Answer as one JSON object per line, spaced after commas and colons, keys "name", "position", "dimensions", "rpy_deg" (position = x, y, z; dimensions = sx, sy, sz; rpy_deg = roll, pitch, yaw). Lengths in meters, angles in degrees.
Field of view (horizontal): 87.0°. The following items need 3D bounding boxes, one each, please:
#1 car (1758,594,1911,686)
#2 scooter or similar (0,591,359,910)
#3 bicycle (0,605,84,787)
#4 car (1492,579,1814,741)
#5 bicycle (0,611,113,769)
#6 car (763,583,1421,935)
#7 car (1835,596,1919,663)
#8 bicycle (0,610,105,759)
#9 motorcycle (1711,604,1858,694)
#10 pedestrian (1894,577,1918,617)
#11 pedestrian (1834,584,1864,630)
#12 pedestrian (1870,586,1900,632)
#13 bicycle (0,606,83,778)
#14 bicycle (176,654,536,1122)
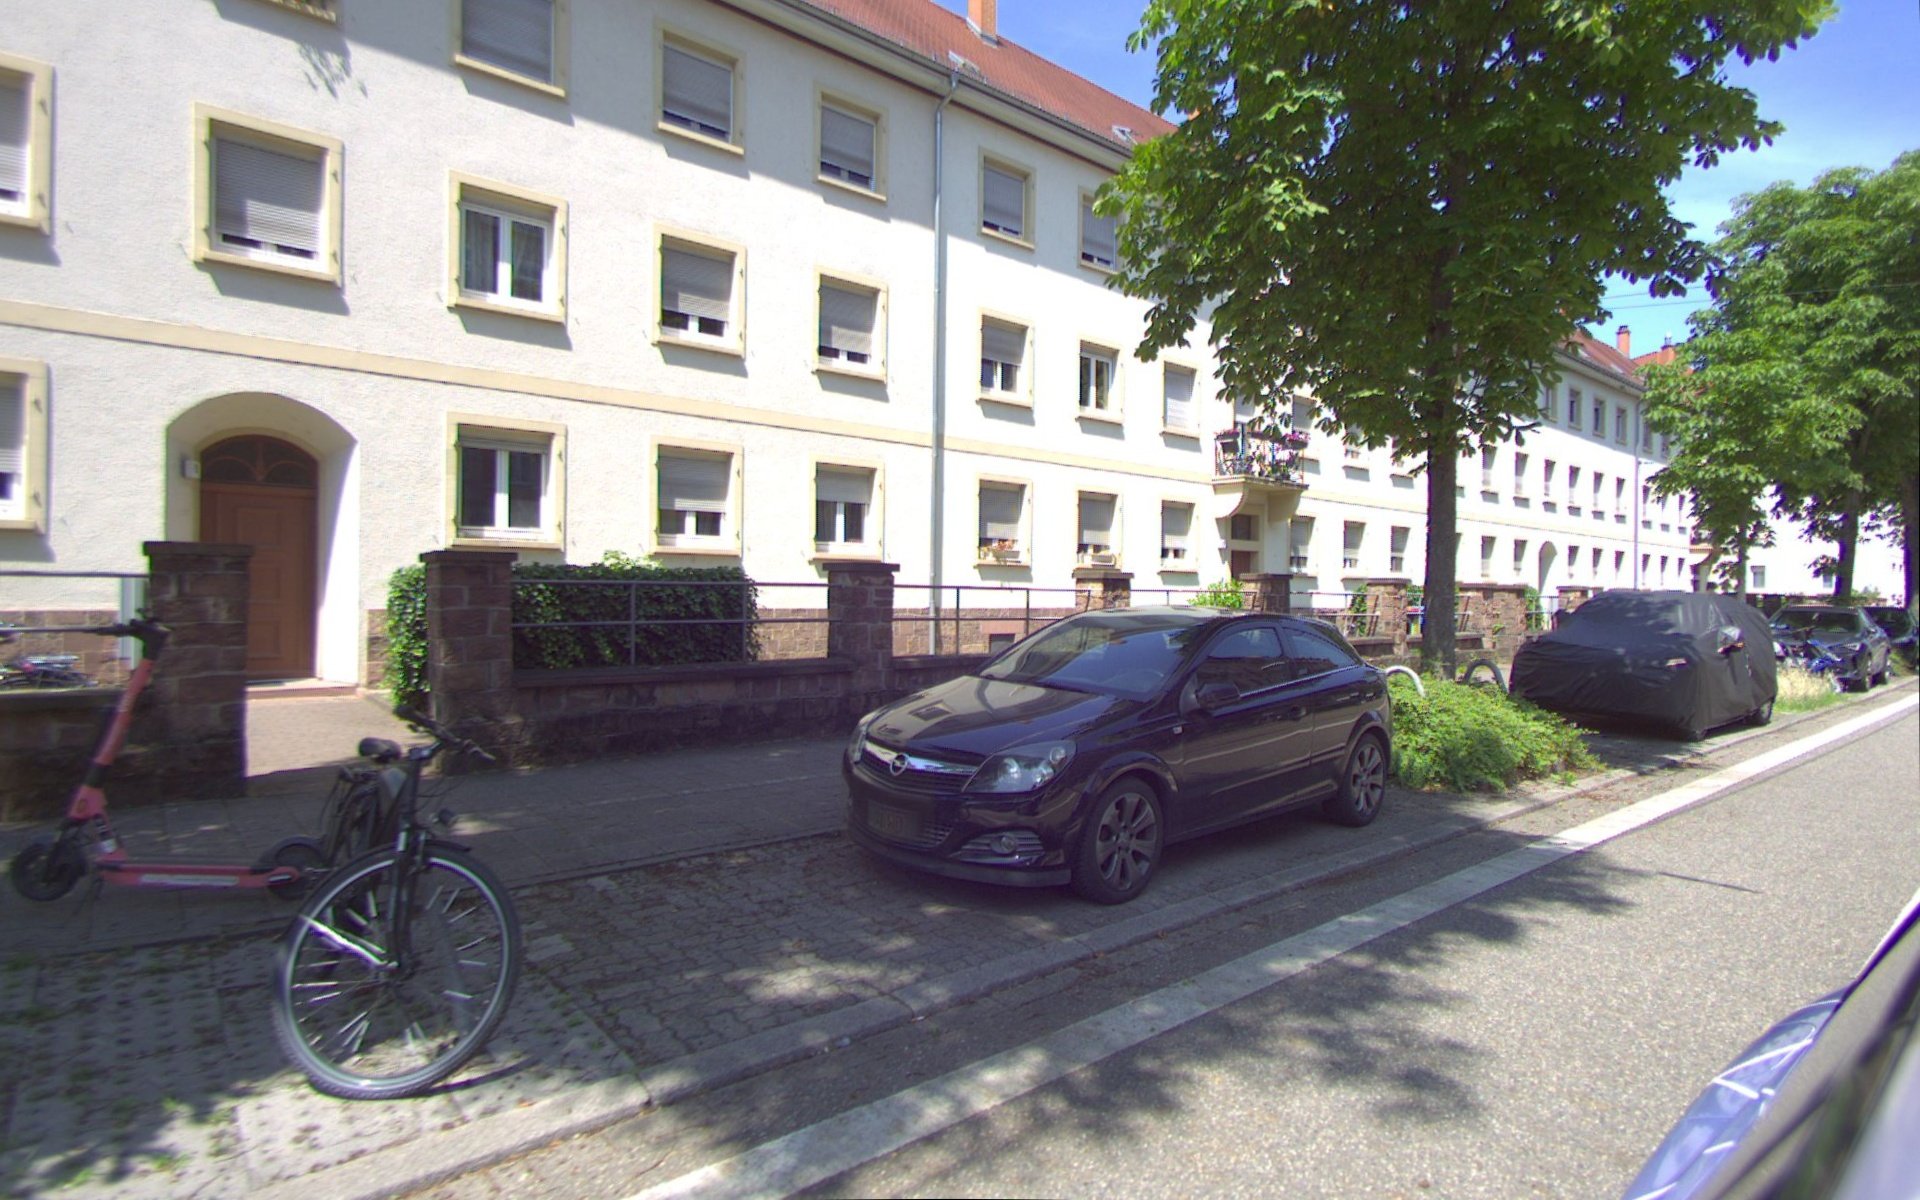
{"name": "car", "position": [16.878, 0.687, 19.454], "dimensions": [4.377, 1.571, 1.735], "rpy_deg": [0, 0, -42]}
{"name": "scooter or similar", "position": [-3.350, 0.626, 4.305], "dimensions": [1.222, 1.228, 0.381], "rpy_deg": [5, -1, -10]}
{"name": "bicycle", "position": [-6.372, 0.583, 5.909], "dimensions": [1.891, 1.092, 0.479], "rpy_deg": [0, 0, -41]}
{"name": "car", "position": [8.789, 0.616, 12.670], "dimensions": [4.789, 1.672, 1.952], "rpy_deg": [0, 0, -38]}
{"name": "bicycle", "position": [-7.132, 0.640, 7.013], "dimensions": [0.478, 1.092, 1.894], "rpy_deg": [0, 0, 43]}
{"name": "car", "position": [1.088, 0.649, 6.233], "dimensions": [4.283, 1.437, 1.696], "rpy_deg": [0, 0, -43]}
{"name": "car", "position": [23.214, 0.683, 25.306], "dimensions": [3.933, 1.534, 1.658], "rpy_deg": [0, 0, -43]}
{"name": "bicycle", "position": [-7.505, 0.631, 7.390], "dimensions": [0.478, 1.092, 1.894], "rpy_deg": [0, 0, 44]}
{"name": "motorcycle", "position": [14.016, 0.796, 17.249], "dimensions": [1.911, 1.451, 0.661], "rpy_deg": [0, 0, 41]}
{"name": "pedestrian", "position": [40.454, -0.130, 43.274], "dimensions": [0.743, 1.691, 0.698], "rpy_deg": [0, 0, -42]}
{"name": "pedestrian", "position": [34.047, 0.268, 38.750], "dimensions": [0.743, 1.690, 0.699], "rpy_deg": [0, 2, -41]}
{"name": "pedestrian", "position": [34.950, 0.325, 38.241], "dimensions": [0.854, 1.690, 0.699], "rpy_deg": [0, 2, -41]}
{"name": "bicycle", "position": [-6.696, 0.594, 6.275], "dimensions": [1.891, 1.092, 0.479], "rpy_deg": [0, 0, -41]}
{"name": "bicycle", "position": [-2.076, 0.779, 3.375], "dimensions": [1.652, 1.092, 0.597], "rpy_deg": [1, 0, 43]}
